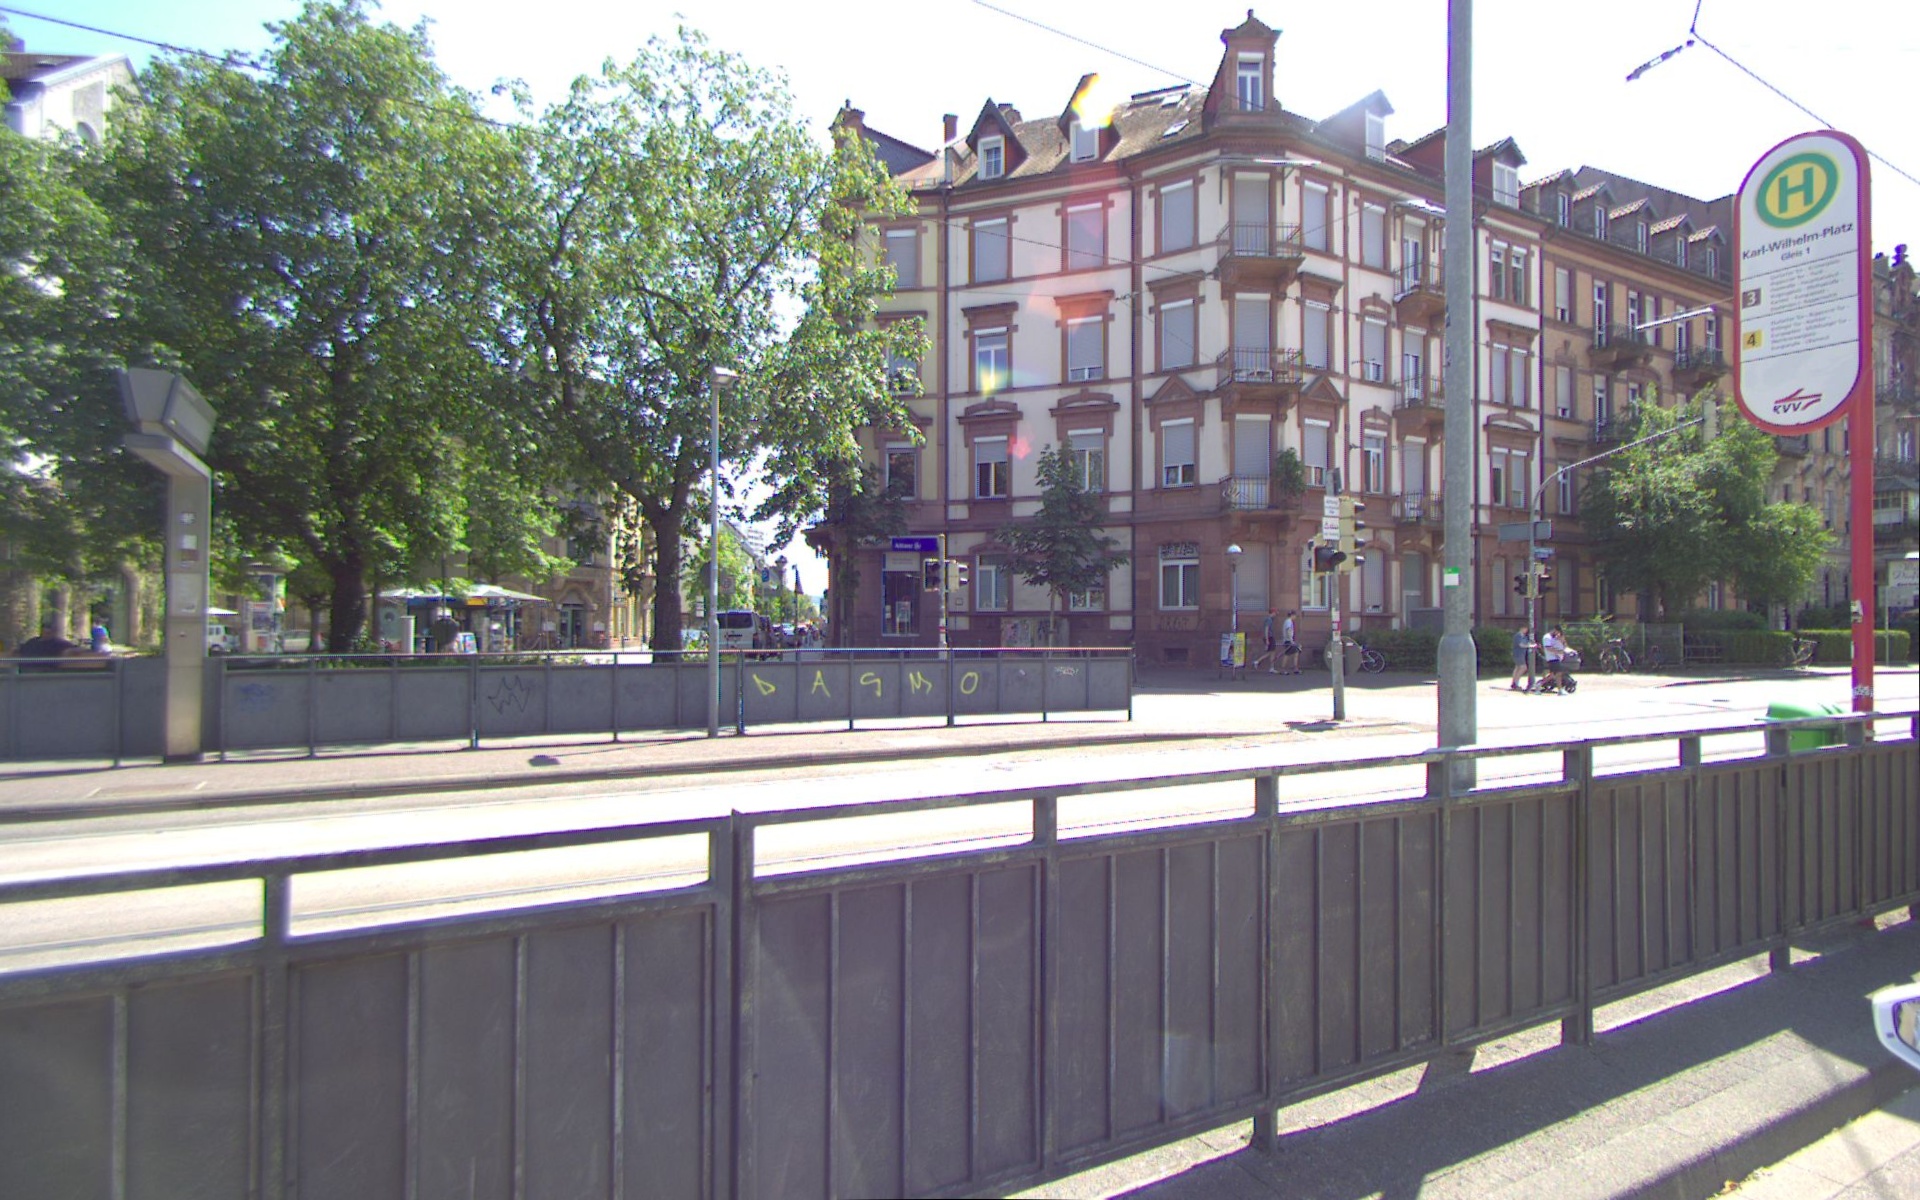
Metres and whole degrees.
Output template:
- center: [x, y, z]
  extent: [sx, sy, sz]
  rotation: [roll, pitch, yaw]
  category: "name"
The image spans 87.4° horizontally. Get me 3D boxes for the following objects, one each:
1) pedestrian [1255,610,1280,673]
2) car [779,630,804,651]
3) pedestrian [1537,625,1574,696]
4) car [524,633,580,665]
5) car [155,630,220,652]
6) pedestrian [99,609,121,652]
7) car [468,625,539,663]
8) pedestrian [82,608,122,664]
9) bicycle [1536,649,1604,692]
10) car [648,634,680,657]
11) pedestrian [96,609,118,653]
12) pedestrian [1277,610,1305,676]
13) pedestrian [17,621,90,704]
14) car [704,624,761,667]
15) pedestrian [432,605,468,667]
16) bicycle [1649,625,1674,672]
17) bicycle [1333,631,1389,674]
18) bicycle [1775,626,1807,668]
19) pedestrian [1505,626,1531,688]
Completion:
- center: [8.861, 1.194, 28.952]
  extent: [0.500, 1.791, 0.527]
  rotation: [0, -1, 39]
  category: "pedestrian"
- center: [-12.562, 3.027, 74.841]
  extent: [1.512, 1.461, 3.739]
  rotation: [1, -1, -5]
  category: "car"
- center: [14.150, 1.428, 23.889]
  extent: [0.641, 1.637, 0.469]
  rotation: [1, 2, 18]
  category: "pedestrian"
- center: [-20.334, 2.404, 50.178]
  extent: [1.512, 1.461, 3.739]
  rotation: [1, -1, -5]
  category: "car"
- center: [-31.139, 1.647, 40.527]
  extent: [0.847, 0.876, 1.910]
  rotation: [0, -1, 35]
  category: "car"
- center: [-33.192, 1.198, 39.236]
  extent: [0.554, 1.644, 0.510]
  rotation: [1, -1, -30]
  category: "pedestrian"
- center: [-19.158, 1.822, 42.285]
  extent: [1.512, 1.461, 3.739]
  rotation: [1, -1, -5]
  category: "car"
- center: [-27.239, 1.140, 31.894]
  extent: [0.703, 1.774, 0.616]
  rotation: [1, -1, -6]
  category: "pedestrian"
- center: [15.022, 1.737, 24.757]
  extent: [1.375, 1.026, 0.389]
  rotation: [0, -1, 21]
  category: "bicycle"
- center: [-20.939, 3.210, 71.060]
  extent: [1.513, 1.461, 3.738]
  rotation: [1, -1, -6]
  category: "car"
- center: [-32.908, 1.193, 38.741]
  extent: [0.520, 1.644, 0.493]
  rotation: [1, -1, -30]
  category: "pedestrian"
- center: [9.393, 1.213, 28.511]
  extent: [0.556, 1.849, 0.632]
  rotation: [0, -1, 39]
  category: "pedestrian"
- center: [-14.615, 0.994, 16.204]
  extent: [0.607, 1.304, 0.646]
  rotation: [1, -1, 21]
  category: "pedestrian"
- center: [-8.302, 1.645, 36.888]
  extent: [1.512, 1.461, 3.739]
  rotation: [1, -1, -5]
  category: "car"
- center: [-17.196, 1.210, 33.871]
  extent: [0.797, 2.040, 0.716]
  rotation: [0, -1, 9]
  category: "pedestrian"
- center: [22.299, 1.526, 31.947]
  extent: [0.606, 1.414, 2.301]
  rotation: [0, -1, 34]
  category: "bicycle"
- center: [11.833, 1.541, 29.672]
  extent: [1.494, 1.185, 0.364]
  rotation: [1, 0, 34]
  category: "bicycle"
- center: [28.533, 1.593, 34.516]
  extent: [0.583, 1.374, 2.434]
  rotation: [0, -1, 34]
  category: "bicycle"
- center: [14.214, 1.446, 25.584]
  extent: [0.497, 1.536, 0.469]
  rotation: [1, -1, 18]
  category: "pedestrian"
